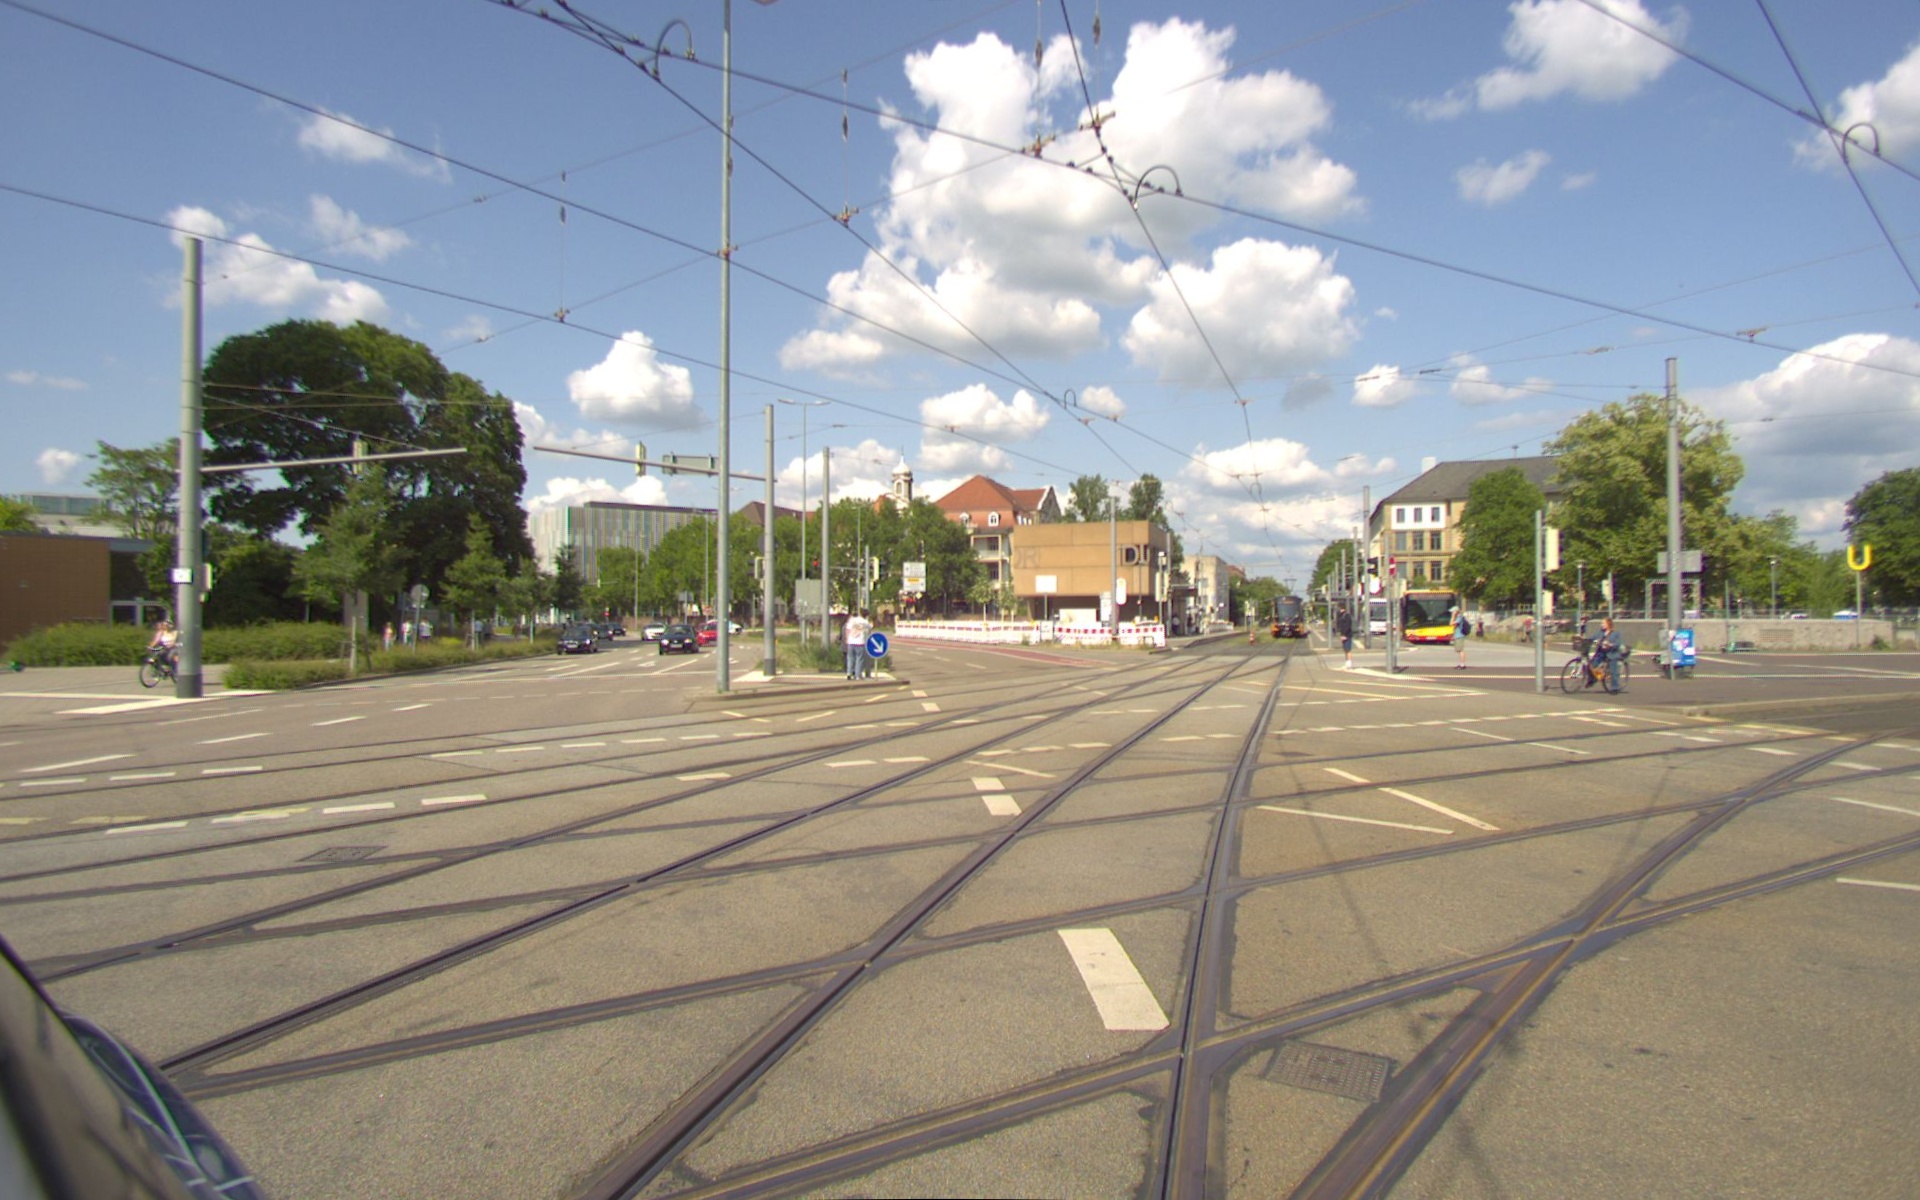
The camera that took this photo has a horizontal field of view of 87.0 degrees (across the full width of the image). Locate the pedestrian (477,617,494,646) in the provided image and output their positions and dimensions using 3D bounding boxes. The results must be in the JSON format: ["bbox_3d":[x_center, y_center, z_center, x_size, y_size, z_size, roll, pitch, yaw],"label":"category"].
[{"bbox_3d":[-28.976,1.912,61.791,0.732,1.767,0.892,2,-1,-17],"label":"pedestrian"}]

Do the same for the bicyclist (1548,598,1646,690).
[{"bbox_3d":[12.463,0.851,19.826,1.279,1.744,0.997,1,-1,-14],"label":"bicyclist"}]

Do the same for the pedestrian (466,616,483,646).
[{"bbox_3d":[-29.645,1.877,61.806,0.732,1.759,0.892,2,-1,-17],"label":"pedestrian"}]

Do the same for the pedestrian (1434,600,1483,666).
[{"bbox_3d":[14.092,0.927,28.632,0.755,1.811,1.030,-2,0,-7],"label":"pedestrian"}]

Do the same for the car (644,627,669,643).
[{"bbox_3d":[-24.319,2.780,81.014,1.877,1.142,4.115,-1,-1,-17],"label":"car"}]

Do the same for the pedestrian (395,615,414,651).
[{"bbox_3d":[-26.855,1.578,48.927,0.605,1.713,0.892,2,-1,-17],"label":"pedestrian"}]

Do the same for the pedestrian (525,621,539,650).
[{"bbox_3d":[-27.269,2.260,64.512,0.755,1.748,0.721,-2,0,-20],"label":"pedestrian"}]

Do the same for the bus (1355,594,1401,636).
[{"bbox_3d":[40.470,1.548,98.527,3.583,3.659,18.738,-1,-2,21],"label":"bus"}]

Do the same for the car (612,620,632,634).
[{"bbox_3d":[-35.650,2.832,106.636,1.877,1.446,4.115,-1,-1,-20],"label":"car"}]

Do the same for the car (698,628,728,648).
[{"bbox_3d":[-15.205,2.315,62.337,1.572,1.142,3.637,-1,-1,-10],"label":"car"}]

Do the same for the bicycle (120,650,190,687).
[{"bbox_3d":[-21.290,1.795,26.799,0.638,0.887,1.826,0,-1,-9],"label":"bicycle"}]

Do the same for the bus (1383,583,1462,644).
[{"bbox_3d":[26.795,0.821,59.158,2.812,3.160,12.760,-1,-1,19],"label":"bus"}]

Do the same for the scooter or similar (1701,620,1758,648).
[{"bbox_3d":[31.848,1.408,41.911,1.635,1.114,0.846,-2,0,22],"label":"scooter or similar"}]

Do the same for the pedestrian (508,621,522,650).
[{"bbox_3d":[-28.064,2.224,63.843,0.755,1.748,0.721,-2,0,-20],"label":"pedestrian"}]

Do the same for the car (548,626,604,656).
[{"bbox_3d":[-20.639,2.164,54.486,1.799,1.474,4.004,-1,-1,-5],"label":"car"}]

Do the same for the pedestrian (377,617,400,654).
[{"bbox_3d":[-25.932,1.611,45.930,0.606,1.635,0.891,2,-1,-11],"label":"pedestrian"}]

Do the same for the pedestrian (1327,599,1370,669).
[{"bbox_3d":[10.948,0.937,28.539,0.756,1.917,0.828,-2,0,-43],"label":"pedestrian"}]

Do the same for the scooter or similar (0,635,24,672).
[{"bbox_3d":[-29.021,1.603,30.334,0.464,1.112,1.304,-1,-2,32],"label":"scooter or similar"}]

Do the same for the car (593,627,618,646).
[{"bbox_3d":[-29.987,3.069,85.683,1.796,1.474,4.012,-1,-1,-17],"label":"car"}]

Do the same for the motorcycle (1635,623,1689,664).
[{"bbox_3d":[21.976,1.357,31.680,1.423,1.246,0.485,0,-1,-9],"label":"motorcycle"}]

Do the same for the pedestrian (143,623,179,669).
[{"bbox_3d":[-29.149,1.684,36.930,0.615,1.635,0.877,1,-2,41],"label":"pedestrian"}]

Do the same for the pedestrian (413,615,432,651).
[{"bbox_3d":[-26.103,1.605,49.147,0.605,1.713,0.892,2,-1,-17],"label":"pedestrian"}]

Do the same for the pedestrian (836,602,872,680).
[{"bbox_3d":[-2.680,1.024,25.567,0.836,1.931,0.694,0,-1,-12],"label":"pedestrian"}]

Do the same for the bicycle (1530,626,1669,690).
[{"bbox_3d":[12.503,1.115,19.821,2.262,1.197,0.997,1,-1,-14],"label":"bicycle"}]

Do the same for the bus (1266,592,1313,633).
[{"bbox_3d":[29.590,1.220,90.912,3.448,3.208,23.635,-1,-1,18],"label":"bus"}]

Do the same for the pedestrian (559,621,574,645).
[{"bbox_3d":[-29.772,2.481,76.515,0.913,1.748,0.770,-2,0,-14],"label":"pedestrian"}]

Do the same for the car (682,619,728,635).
[{"bbox_3d":[-24.270,2.538,96.399,3.972,1.364,1.767,-2,0,22],"label":"car"}]

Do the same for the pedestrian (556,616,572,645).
[{"bbox_3d":[-28.994,2.218,74.039,0.949,2.029,0.770,-2,0,-14],"label":"pedestrian"}]

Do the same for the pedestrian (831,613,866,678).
[{"bbox_3d":[-2.909,1.173,26.279,0.836,1.660,0.694,0,-1,-12],"label":"pedestrian"}]

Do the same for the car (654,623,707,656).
[{"bbox_3d":[-13.521,1.895,49.128,1.799,1.474,4.004,-1,-1,-5],"label":"car"}]
